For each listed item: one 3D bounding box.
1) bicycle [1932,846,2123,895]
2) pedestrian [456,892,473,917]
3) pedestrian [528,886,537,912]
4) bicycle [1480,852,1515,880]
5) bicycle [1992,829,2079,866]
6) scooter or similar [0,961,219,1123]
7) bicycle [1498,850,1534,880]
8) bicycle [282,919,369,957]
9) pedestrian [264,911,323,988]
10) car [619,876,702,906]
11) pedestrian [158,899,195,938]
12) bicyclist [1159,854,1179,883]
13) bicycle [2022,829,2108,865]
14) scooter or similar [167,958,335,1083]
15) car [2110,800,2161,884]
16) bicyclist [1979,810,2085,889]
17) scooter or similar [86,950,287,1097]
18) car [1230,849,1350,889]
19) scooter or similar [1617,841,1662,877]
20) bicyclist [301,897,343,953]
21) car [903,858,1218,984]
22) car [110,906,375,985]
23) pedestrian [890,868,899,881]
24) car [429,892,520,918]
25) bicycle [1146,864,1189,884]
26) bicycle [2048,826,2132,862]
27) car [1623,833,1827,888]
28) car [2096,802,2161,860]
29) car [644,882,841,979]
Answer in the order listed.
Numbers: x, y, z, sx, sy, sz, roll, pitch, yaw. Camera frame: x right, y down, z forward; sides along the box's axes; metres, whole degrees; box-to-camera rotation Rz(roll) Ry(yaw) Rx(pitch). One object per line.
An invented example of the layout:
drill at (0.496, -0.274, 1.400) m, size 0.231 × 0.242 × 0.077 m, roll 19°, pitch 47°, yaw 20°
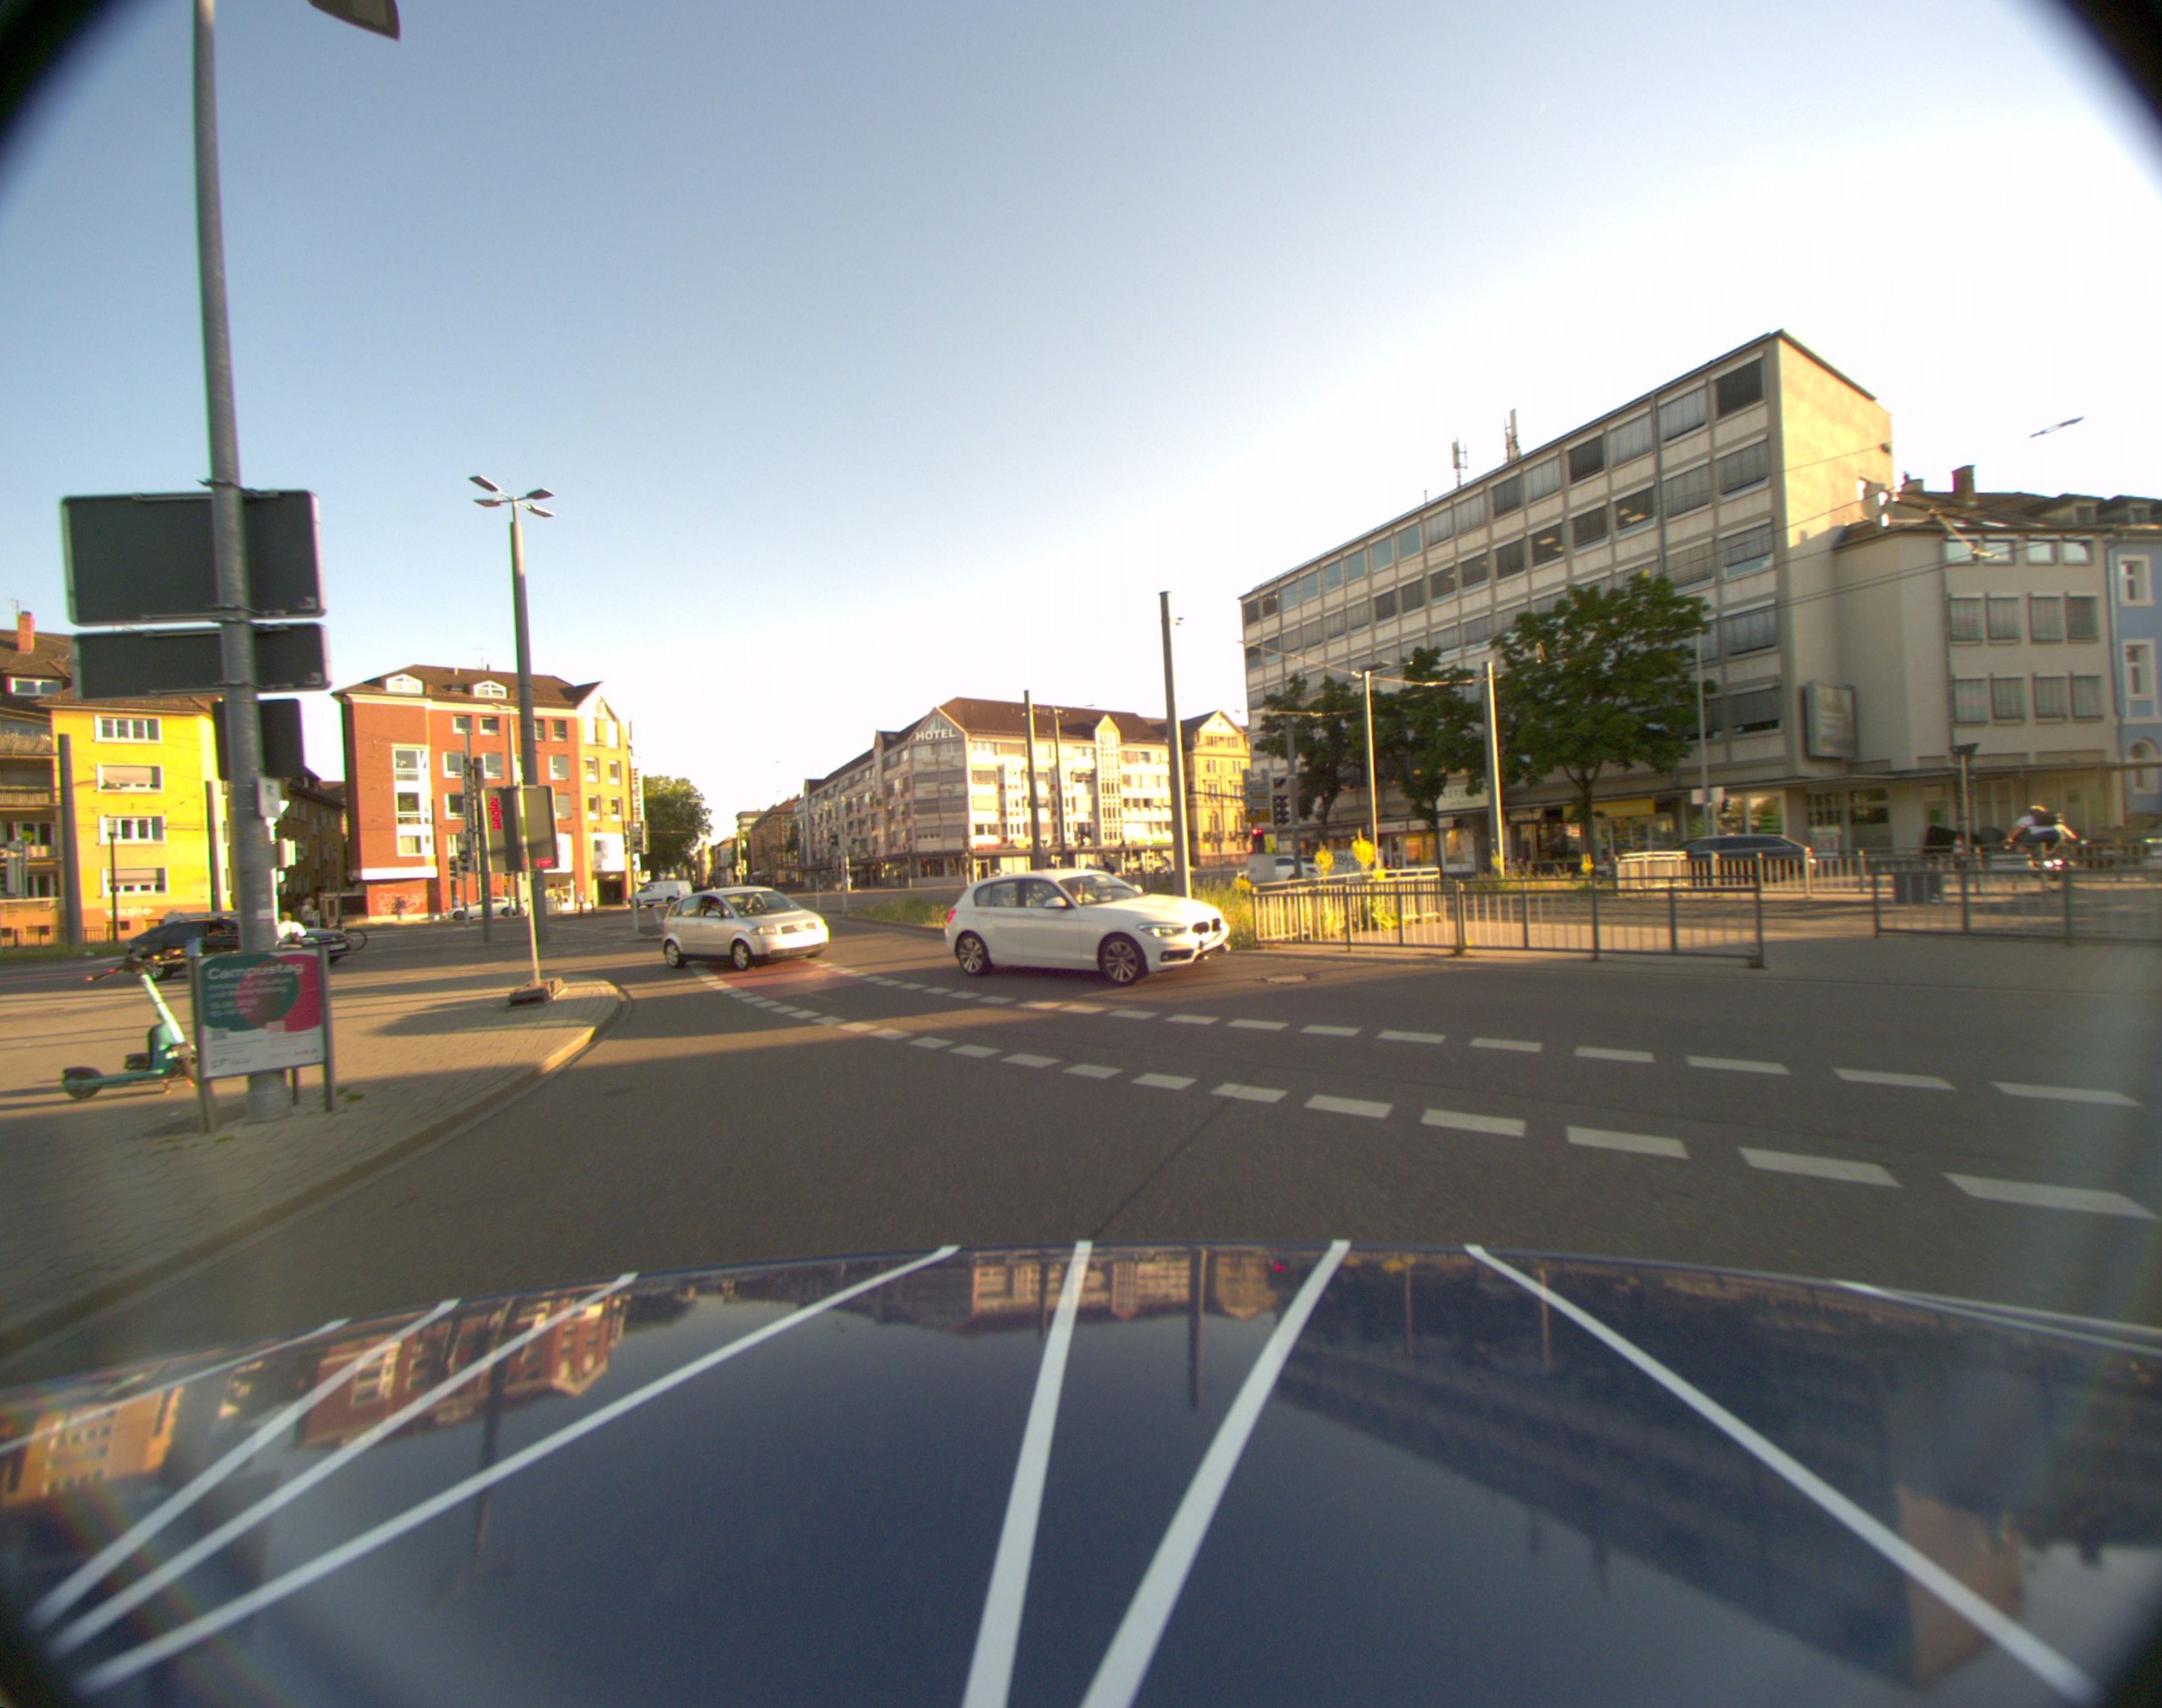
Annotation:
bicycle at (18.250, 0.294, 14.780) m, size 0.845 × 0.841 × 2.424 m, roll -3°, pitch 0°, yaw 6°
pedestrian at (-45.879, 3.768, 56.560) m, size 0.874 × 1.768 × 0.915 m, roll -3°, pitch 1°, yaw -40°
pedestrian at (-36.820, 3.007, 51.028) m, size 0.420 × 1.698 × 0.514 m, roll -3°, pitch 0°, yaw -34°
bicycle at (18.400, 0.519, 33.583) m, size 1.748 × 1.133 × 0.665 m, roll -4°, pitch 1°, yaw -37°
bicycle at (32.598, -0.234, 25.975) m, size 0.554 × 1.180 × 1.778 m, roll -3°, pitch 2°, yaw -13°
scooter or similar at (-8.681, 1.649, 6.751) m, size 1.524 × 1.252 × 0.612 m, roll -4°, pitch 0°, yaw 12°
bicycle at (18.685, 0.485, 32.626) m, size 1.639 × 1.178 × 0.537 m, roll -3°, pitch 1°, yaw -30°
bicycle at (-23.899, 2.647, 24.086) m, size 1.850 × 1.017 × 0.595 m, roll -2°, pitch 0°, yaw -34°
pedestrian at (-17.471, 2.097, 16.874) m, size 0.690 × 1.604 × 0.595 m, roll -3°, pitch 0°, yaw -26°
car at (-30.471, 2.687, 55.113) m, size 4.870 × 1.827 × 2.002 m, roll -3°, pitch 0°, yaw 6°
pedestrian at (-37.185, 2.647, 31.255) m, size 0.637 × 1.532 × 0.706 m, roll -3°, pitch 0°, yaw -17°
bicyclist at (4.371, 0.711, 37.766) m, size 0.682 × 1.361 × 0.717 m, roll -3°, pitch 0°, yaw 28°
bicycle at (33.674, -0.256, 26.029) m, size 0.540 × 1.180 × 1.715 m, roll -3°, pitch 2°, yaw -13°
scooter or similar at (-8.529, 1.700, 7.818) m, size 1.402 × 1.159 × 0.462 m, roll -3°, pitch 0°, yaw 11°
car at (21.440, -0.312, 12.929) m, size 2.207 × 1.550 × 4.272 m, roll -3°, pitch 0°, yaw -25°
bicyclist at (18.190, -0.079, 14.558) m, size 0.834 × 1.432 × 0.931 m, roll -3°, pitch 0°, yaw 6°
scooter or similar at (-8.608, 1.623, 7.316) m, size 1.650 × 1.285 × 0.462 m, roll -3°, pitch 0°, yaw 12°
car at (8.657, 0.652, 31.900) m, size 2.043 × 1.432 × 4.651 m, roll -4°, pitch 0°, yaw -31°
scooter or similar at (21.333, 0.188, 29.024) m, size 1.280 × 1.314 × 0.515 m, roll -3°, pitch 0°, yaw 0°
bicyclist at (-23.992, 2.225, 24.036) m, size 0.749 × 1.661 × 0.594 m, roll -5°, pitch 2°, yaw -35°
car at (-0.440, 0.970, 11.013) m, size 4.294 × 1.397 × 1.920 m, roll -6°, pitch -2°, yaw 41°
car at (-21.719, 2.328, 19.878) m, size 4.391 × 1.608 × 1.943 m, roll -3°, pitch 0°, yaw -7°
pedestrian at (-23.345, 2.535, 95.104) m, size 0.709 × 1.539 × 0.904 m, roll -3°, pitch 0°, yaw -34°
car at (-42.211, 3.523, 52.995) m, size 4.567 × 1.440 × 1.813 m, roll -3°, pitch 0°, yaw -23°
bicycle at (4.313, 0.999, 37.814) m, size 1.949 × 0.924 × 0.725 m, roll -3°, pitch 0°, yaw 28°
bicycle at (34.860, -0.350, 26.277) m, size 0.486 × 1.180 × 1.684 m, roll -3°, pitch 2°, yaw -13°
car at (19.302, 0.211, 23.049) m, size 4.362 × 1.427 × 1.740 m, roll -3°, pitch 0°, yaw 24°
car at (31.235, -0.719, 21.752) m, size 4.255 × 1.565 × 1.882 m, roll -3°, pitch 0°, yaw -27°
car at (-6.689, 1.456, 14.924) m, size 3.717 × 1.552 × 1.683 m, roll -4°, pitch 1°, yaw 34°
